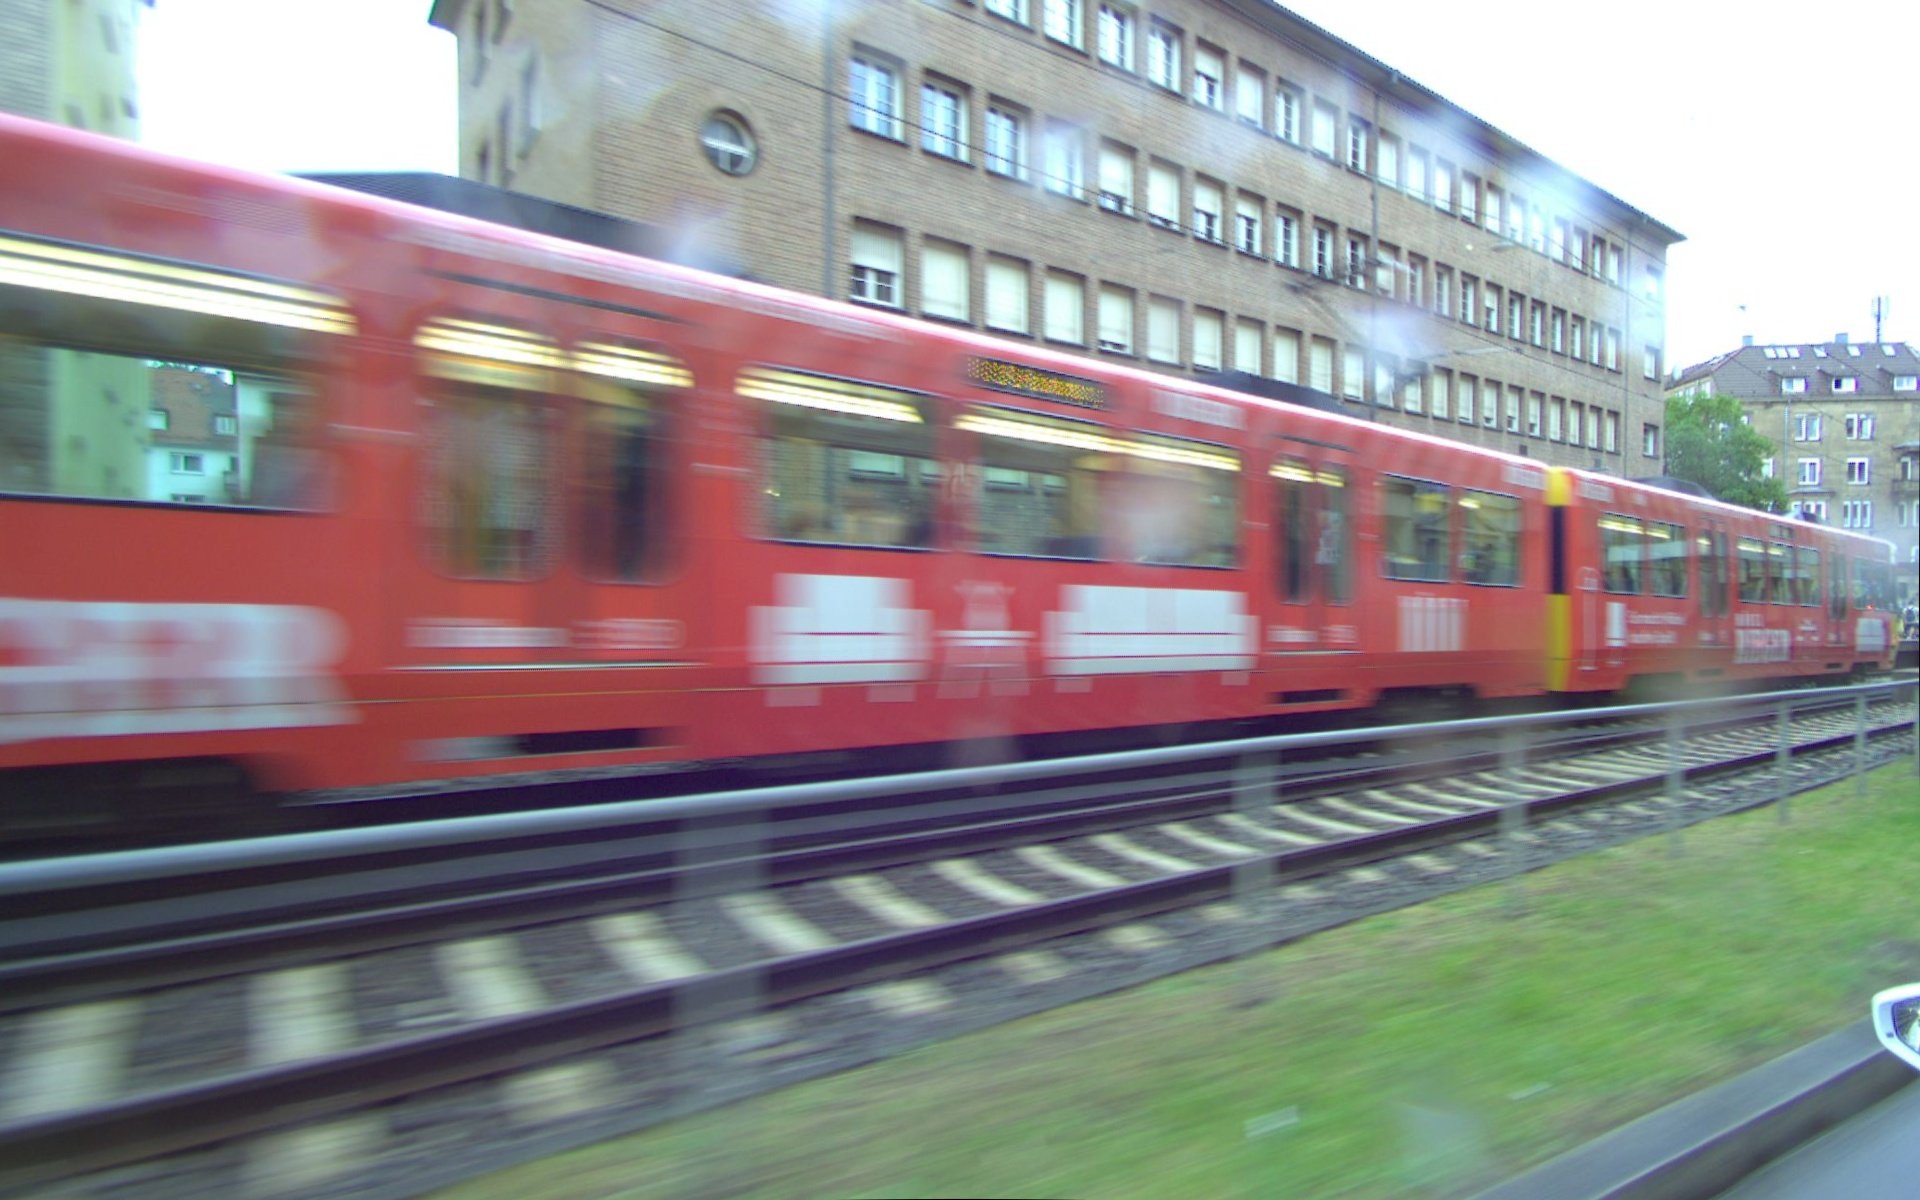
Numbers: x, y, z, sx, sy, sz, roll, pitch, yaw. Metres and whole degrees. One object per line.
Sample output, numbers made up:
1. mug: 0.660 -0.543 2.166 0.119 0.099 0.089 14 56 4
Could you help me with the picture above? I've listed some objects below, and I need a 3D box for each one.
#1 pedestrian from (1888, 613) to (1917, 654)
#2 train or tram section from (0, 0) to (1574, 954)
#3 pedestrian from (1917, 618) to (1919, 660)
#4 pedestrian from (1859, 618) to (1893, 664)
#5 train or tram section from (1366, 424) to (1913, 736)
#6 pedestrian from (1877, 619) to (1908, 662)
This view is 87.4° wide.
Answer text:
1. pedestrian: 38.312 1.359 40.846 0.947 1.604 0.688 2 -1 -36
2. train or tram section: -0.445 -0.395 8.414 19.118 3.973 2.695 2 -1 -37
3. pedestrian: 42.469 1.721 44.125 0.792 1.842 0.507 1 -1 -36
4. pedestrian: 35.131 1.587 38.520 0.874 1.718 0.739 2 -4 -36
5. train or tram section: 14.726 0.000 19.825 19.677 3.973 2.695 2 -1 -37
6. pedestrian: 36.638 1.612 39.456 0.634 1.668 0.739 2 -4 -36
